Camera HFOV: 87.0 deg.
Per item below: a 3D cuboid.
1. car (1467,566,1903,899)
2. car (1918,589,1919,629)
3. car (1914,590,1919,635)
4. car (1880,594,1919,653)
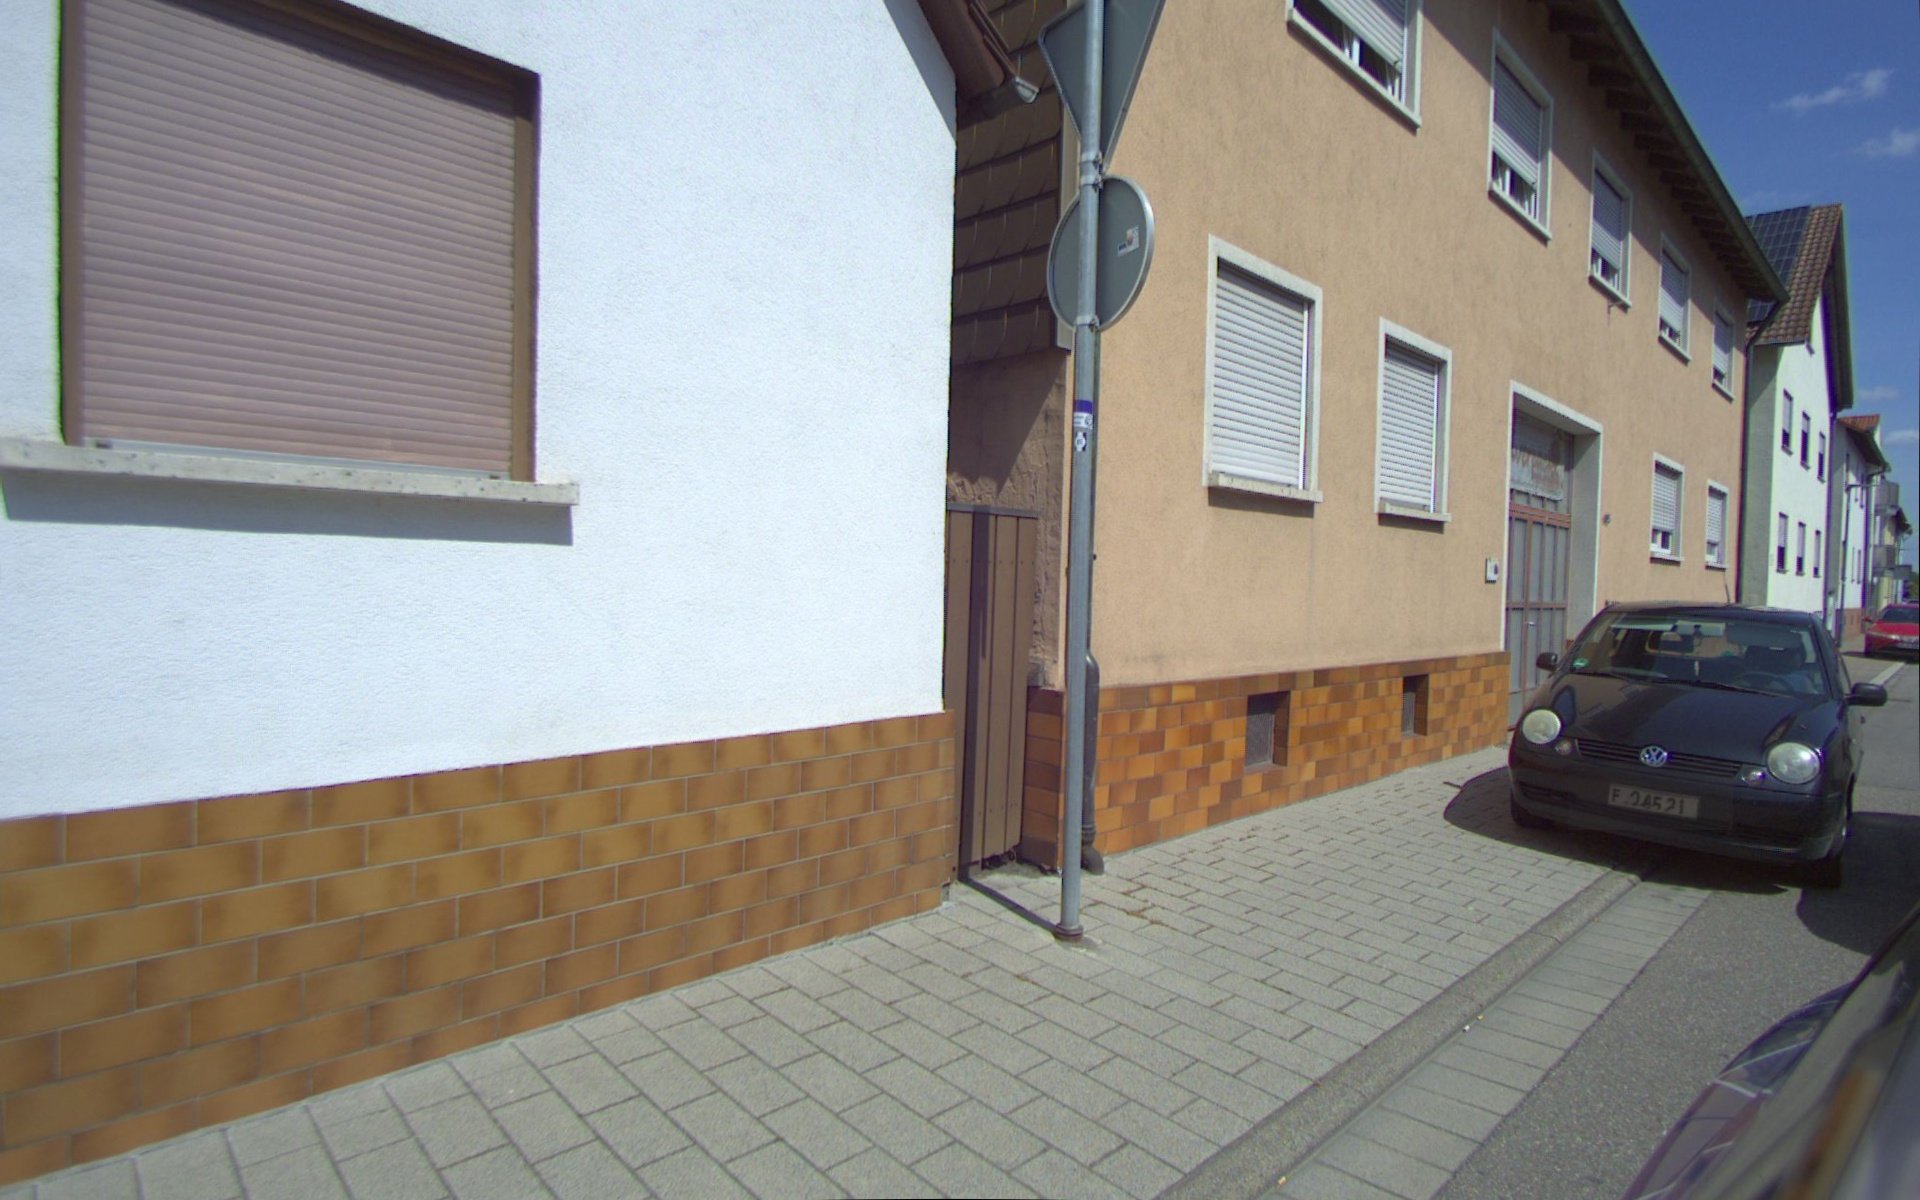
[{"bbox_3d":[4.875,0.613,6.614,3.570,1.481,1.688,0,4,-45],"label":"car"},{"bbox_3d":[37.371,0.374,38.113,1.761,1.446,4.121,3,2,45],"label":"car"},{"bbox_3d":[32.949,0.457,33.563,1.761,1.446,4.121,3,2,45],"label":"car"},{"bbox_3d":[25.259,0.612,26.298,1.761,1.446,4.121,3,2,45],"label":"car"}]
